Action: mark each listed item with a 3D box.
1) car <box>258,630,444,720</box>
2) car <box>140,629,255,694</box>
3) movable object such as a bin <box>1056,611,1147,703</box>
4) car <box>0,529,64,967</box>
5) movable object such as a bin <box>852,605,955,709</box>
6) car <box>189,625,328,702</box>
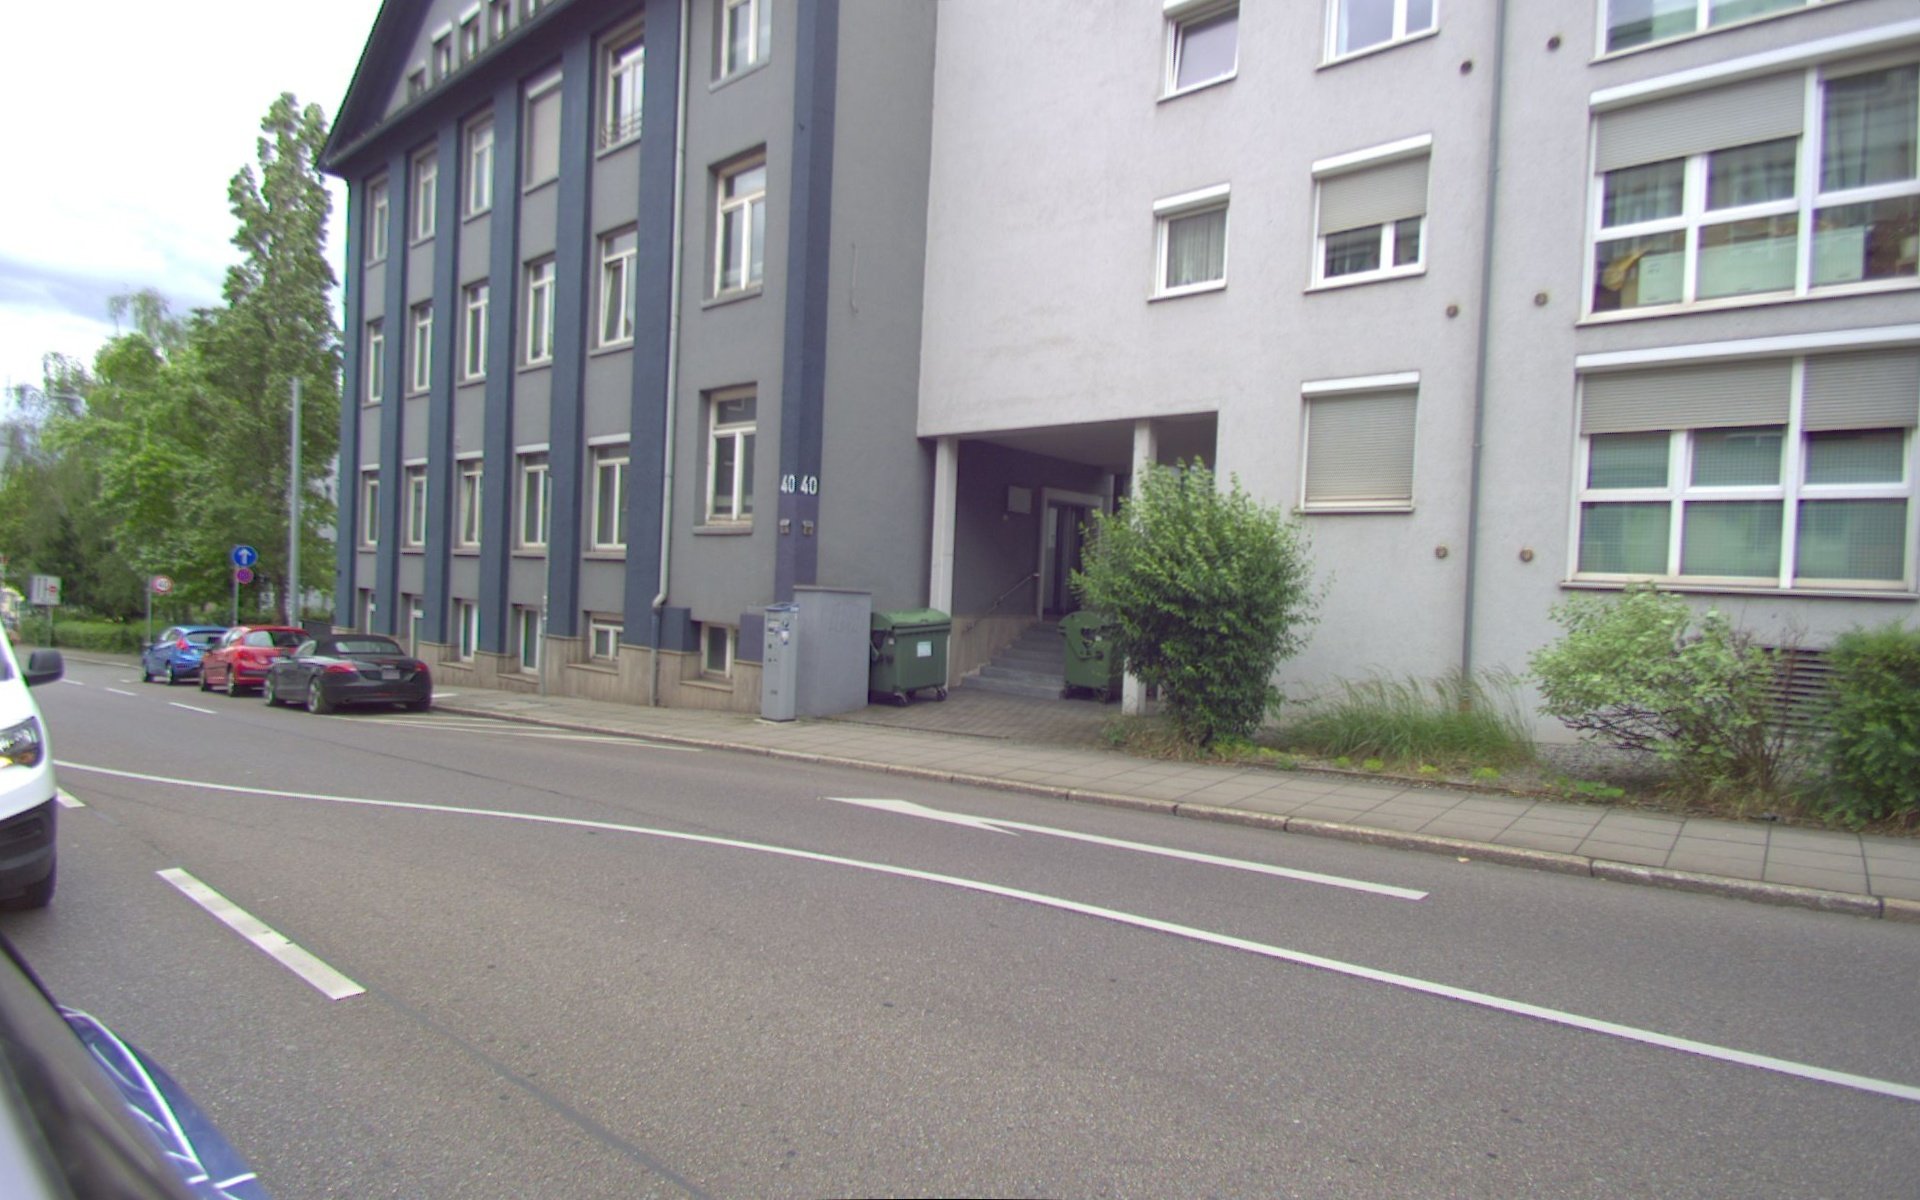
[{"bbox_3d":[-10.972,1.260,18.147,3.727,1.403,1.778,-1,-2,41],"label":"car"},{"bbox_3d":[-19.404,1.492,25.703,3.727,1.460,1.623,-1,0,41],"label":"car"},{"bbox_3d":[2.318,0.895,16.565,1.078,1.427,1.026,-1,0,41],"label":"movable object such as a bin"},{"bbox_3d":[-6.093,0.666,5.214,3.998,1.901,1.716,-1,0,41],"label":"car"},{"bbox_3d":[-0.874,0.846,15.704,1.039,1.518,1.213,-1,0,41],"label":"movable object such as a bin"},{"bbox_3d":[-15.350,1.317,22.086,3.727,1.460,1.623,-1,0,41],"label":"car"}]
